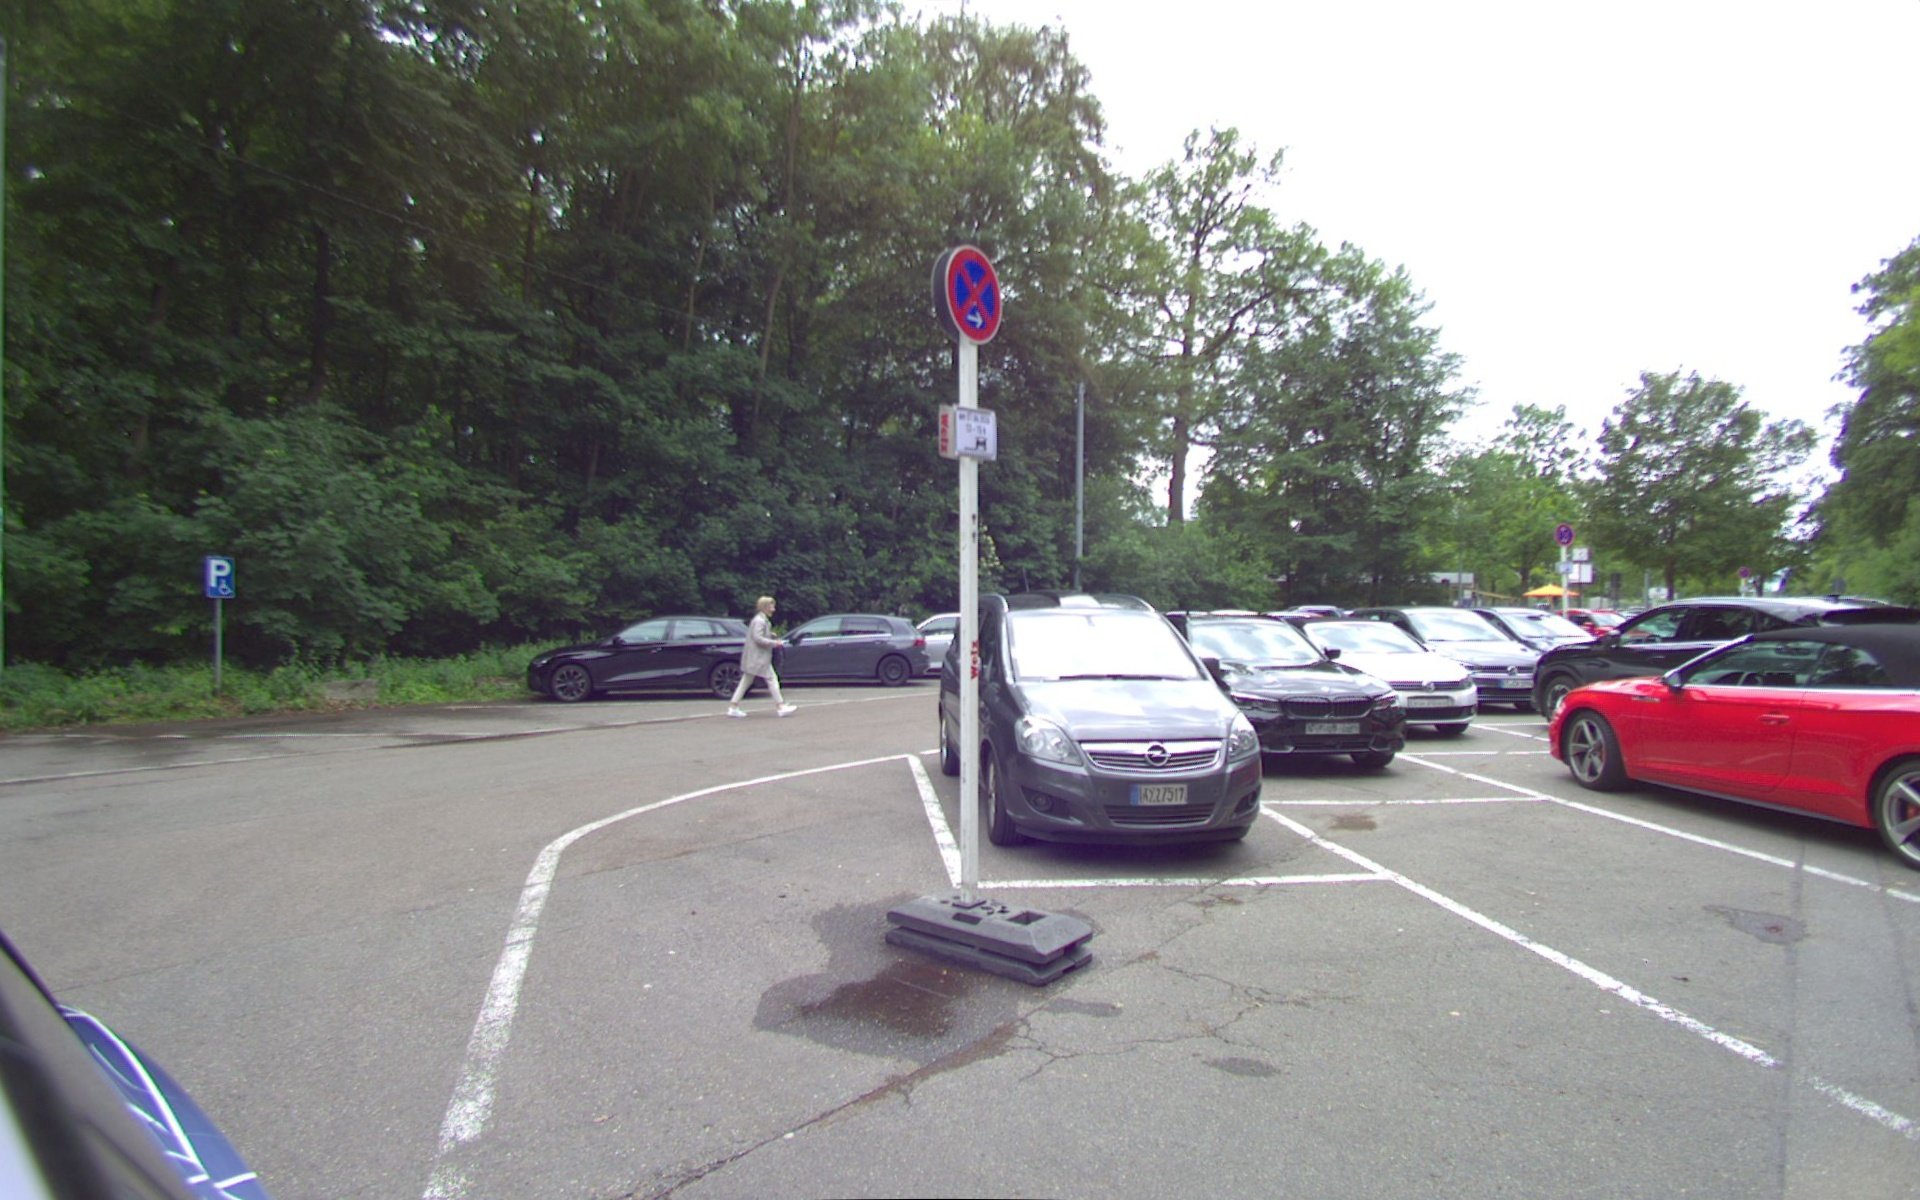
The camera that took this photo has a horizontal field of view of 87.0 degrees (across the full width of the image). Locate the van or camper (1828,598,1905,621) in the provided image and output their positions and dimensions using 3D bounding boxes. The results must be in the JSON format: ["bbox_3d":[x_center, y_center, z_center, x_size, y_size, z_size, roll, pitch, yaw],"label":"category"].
[{"bbox_3d":[113.425,1.177,126.631,7.247,2.871,2.201,0,-1,5],"label":"van or camper"}]

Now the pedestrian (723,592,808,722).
[{"bbox_3d":[-2.727,0.775,14.214,0.764,1.738,0.885,-1,-1,41],"label":"pedestrian"}]

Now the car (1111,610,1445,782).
[{"bbox_3d":[3.049,0.836,10.776,1.732,1.454,4.285,0,-1,-7],"label":"car"}]

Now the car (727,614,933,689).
[{"bbox_3d":[-2.592,1.006,20.525,3.939,1.433,1.912,0,-1,-5],"label":"car"}]

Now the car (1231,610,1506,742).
[{"bbox_3d":[5.078,0.865,13.203,1.746,1.454,3.850,0,-1,-5],"label":"car"}]

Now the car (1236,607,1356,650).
[{"bbox_3d":[13.220,1.105,39.997,4.060,1.630,1.843,0,-1,-2],"label":"car"}]

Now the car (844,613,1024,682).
[{"bbox_3d":[-0.583,1.062,23.096,3.943,1.478,1.835,1,-1,-1],"label":"car"}]

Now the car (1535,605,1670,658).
[{"bbox_3d":[20.593,0.965,32.601,1.660,1.597,3.661,0,-1,-8],"label":"car"}]

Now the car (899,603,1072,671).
[{"bbox_3d":[0.580,0.921,25.756,4.198,1.649,1.968,0,-1,-5],"label":"car"}]

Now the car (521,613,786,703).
[{"bbox_3d":[-5.210,0.964,17.693,4.141,1.473,1.901,0,-1,-4],"label":"car"}]

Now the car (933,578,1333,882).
[{"bbox_3d":[0.899,0.720,7.682,1.801,1.621,4.394,0,-1,-7],"label":"car"}]

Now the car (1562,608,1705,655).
[{"bbox_3d":[22.876,1.035,34.566,1.847,1.495,4.007,0,0,-8],"label":"car"}]

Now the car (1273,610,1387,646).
[{"bbox_3d":[15.546,1.156,42.643,4.060,1.449,1.870,0,-1,-2],"label":"car"}]

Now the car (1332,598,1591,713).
[{"bbox_3d":[7.745,0.806,16.118,1.819,1.599,3.982,1,-1,-6],"label":"car"}]

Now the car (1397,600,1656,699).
[{"bbox_3d":[9.947,0.816,18.175,1.842,1.566,4.010,1,-1,-12],"label":"car"}]

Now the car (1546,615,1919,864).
[{"bbox_3d":[6.274,0.822,6.843,1.742,1.404,4.397,0,0,-6],"label":"car"}]

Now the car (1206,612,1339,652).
[{"bbox_3d":[11.337,1.154,36.907,4.235,1.424,1.928,0,-1,-1],"label":"car"}]

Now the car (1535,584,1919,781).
[{"bbox_3d":[8.362,0.726,10.731,1.869,1.676,4.007,0,-1,-8],"label":"car"}]

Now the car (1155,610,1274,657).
[{"bbox_3d":[8.582,1.118,34.286,3.529,1.516,1.736,0,-1,-3],"label":"car"}]
